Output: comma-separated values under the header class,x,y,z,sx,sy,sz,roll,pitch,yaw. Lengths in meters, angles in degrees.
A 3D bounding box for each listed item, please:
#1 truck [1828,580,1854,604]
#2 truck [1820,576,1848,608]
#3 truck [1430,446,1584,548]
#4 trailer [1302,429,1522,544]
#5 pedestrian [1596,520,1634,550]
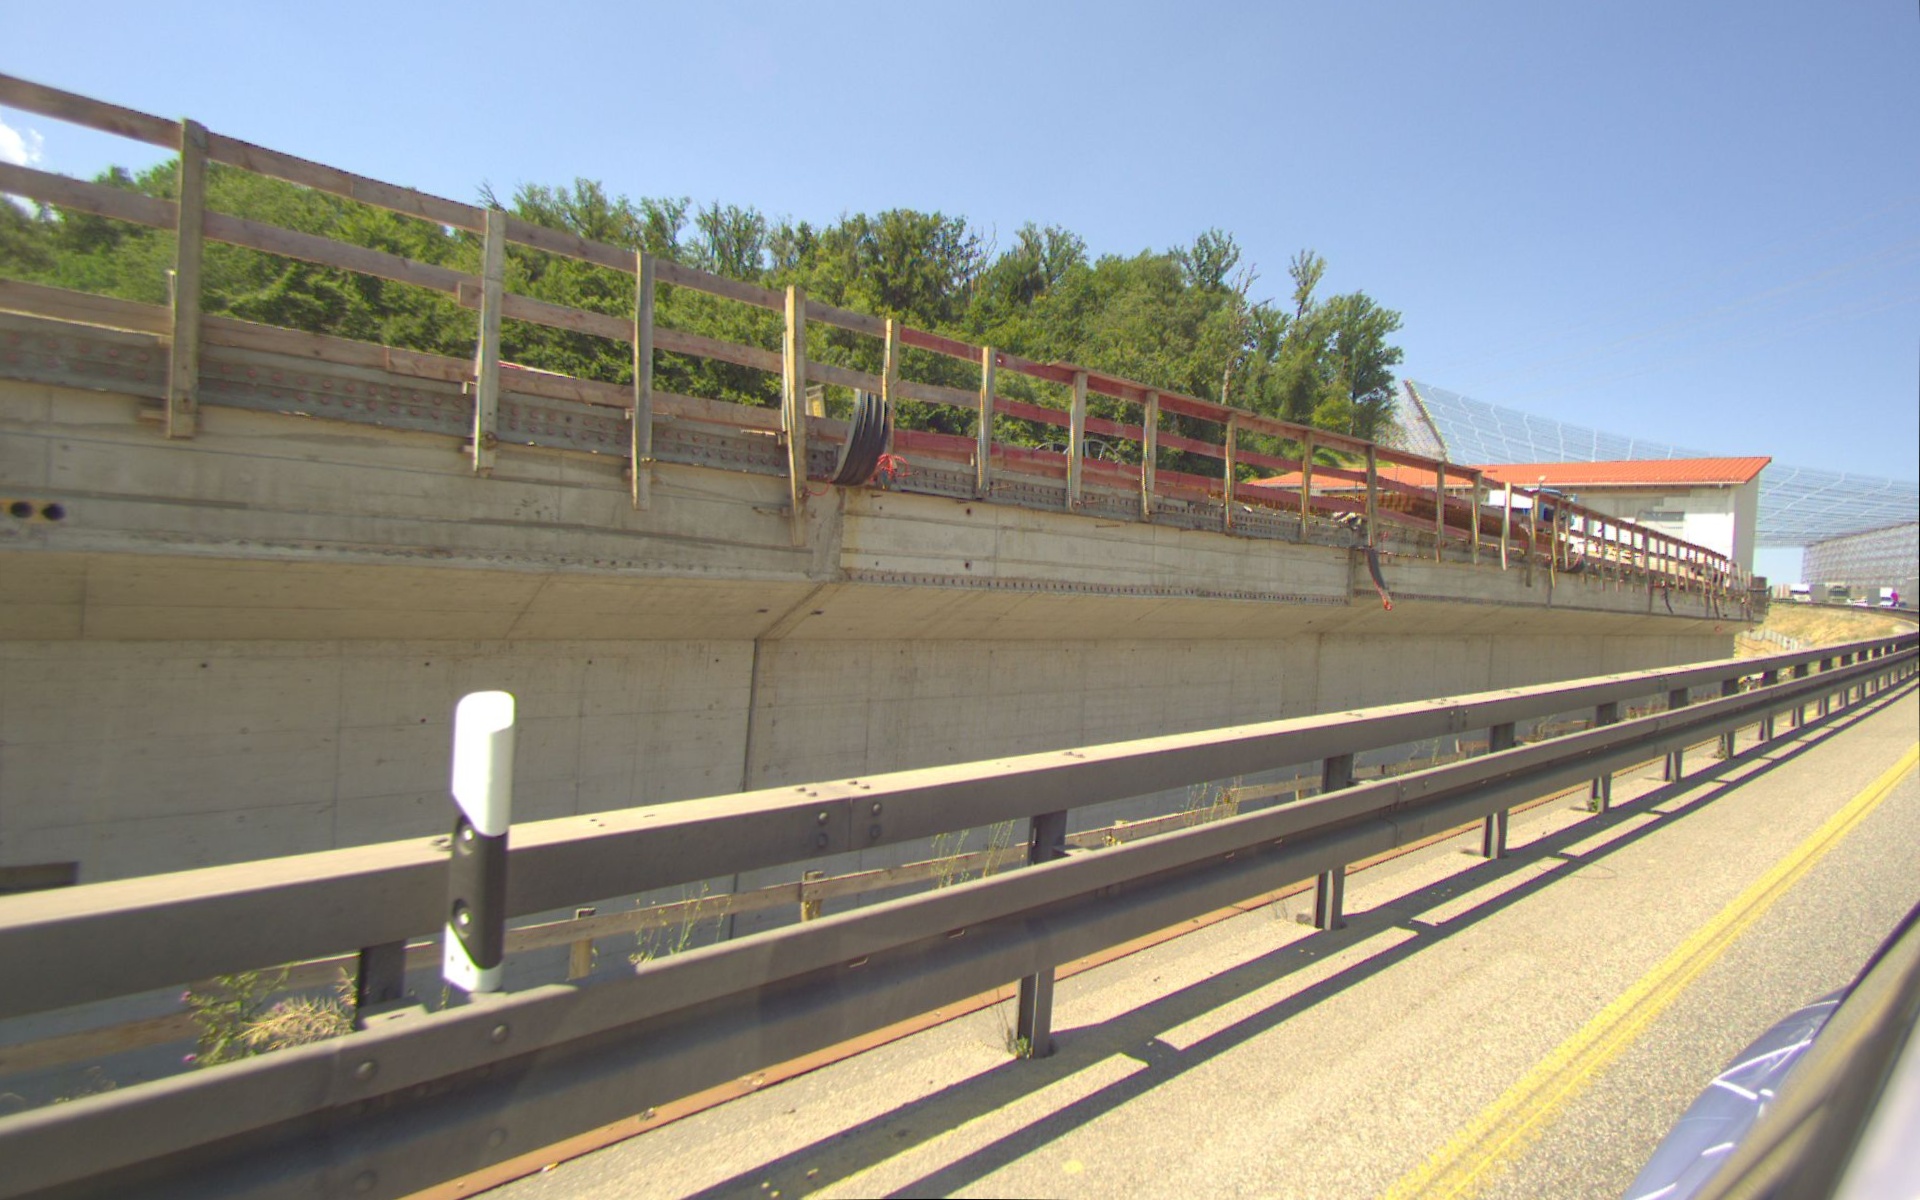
class,x,y,z,sx,sy,sz,roll,pitch,yaw
truck,151.239,-1.398,173.791,3.028,4.107,8.555,1,1,38
truck,140.373,-1.332,162.538,3.028,4.865,8.817,0,1,39
truck,23.682,-4.331,43.843,5.590,3.741,2.725,3,0,-20
trailer,18.776,-4.556,41.991,8.806,3.741,2.725,3,0,-20
pedestrian,26.149,-2.582,40.397,0.976,1.165,1.022,-1,1,-38
